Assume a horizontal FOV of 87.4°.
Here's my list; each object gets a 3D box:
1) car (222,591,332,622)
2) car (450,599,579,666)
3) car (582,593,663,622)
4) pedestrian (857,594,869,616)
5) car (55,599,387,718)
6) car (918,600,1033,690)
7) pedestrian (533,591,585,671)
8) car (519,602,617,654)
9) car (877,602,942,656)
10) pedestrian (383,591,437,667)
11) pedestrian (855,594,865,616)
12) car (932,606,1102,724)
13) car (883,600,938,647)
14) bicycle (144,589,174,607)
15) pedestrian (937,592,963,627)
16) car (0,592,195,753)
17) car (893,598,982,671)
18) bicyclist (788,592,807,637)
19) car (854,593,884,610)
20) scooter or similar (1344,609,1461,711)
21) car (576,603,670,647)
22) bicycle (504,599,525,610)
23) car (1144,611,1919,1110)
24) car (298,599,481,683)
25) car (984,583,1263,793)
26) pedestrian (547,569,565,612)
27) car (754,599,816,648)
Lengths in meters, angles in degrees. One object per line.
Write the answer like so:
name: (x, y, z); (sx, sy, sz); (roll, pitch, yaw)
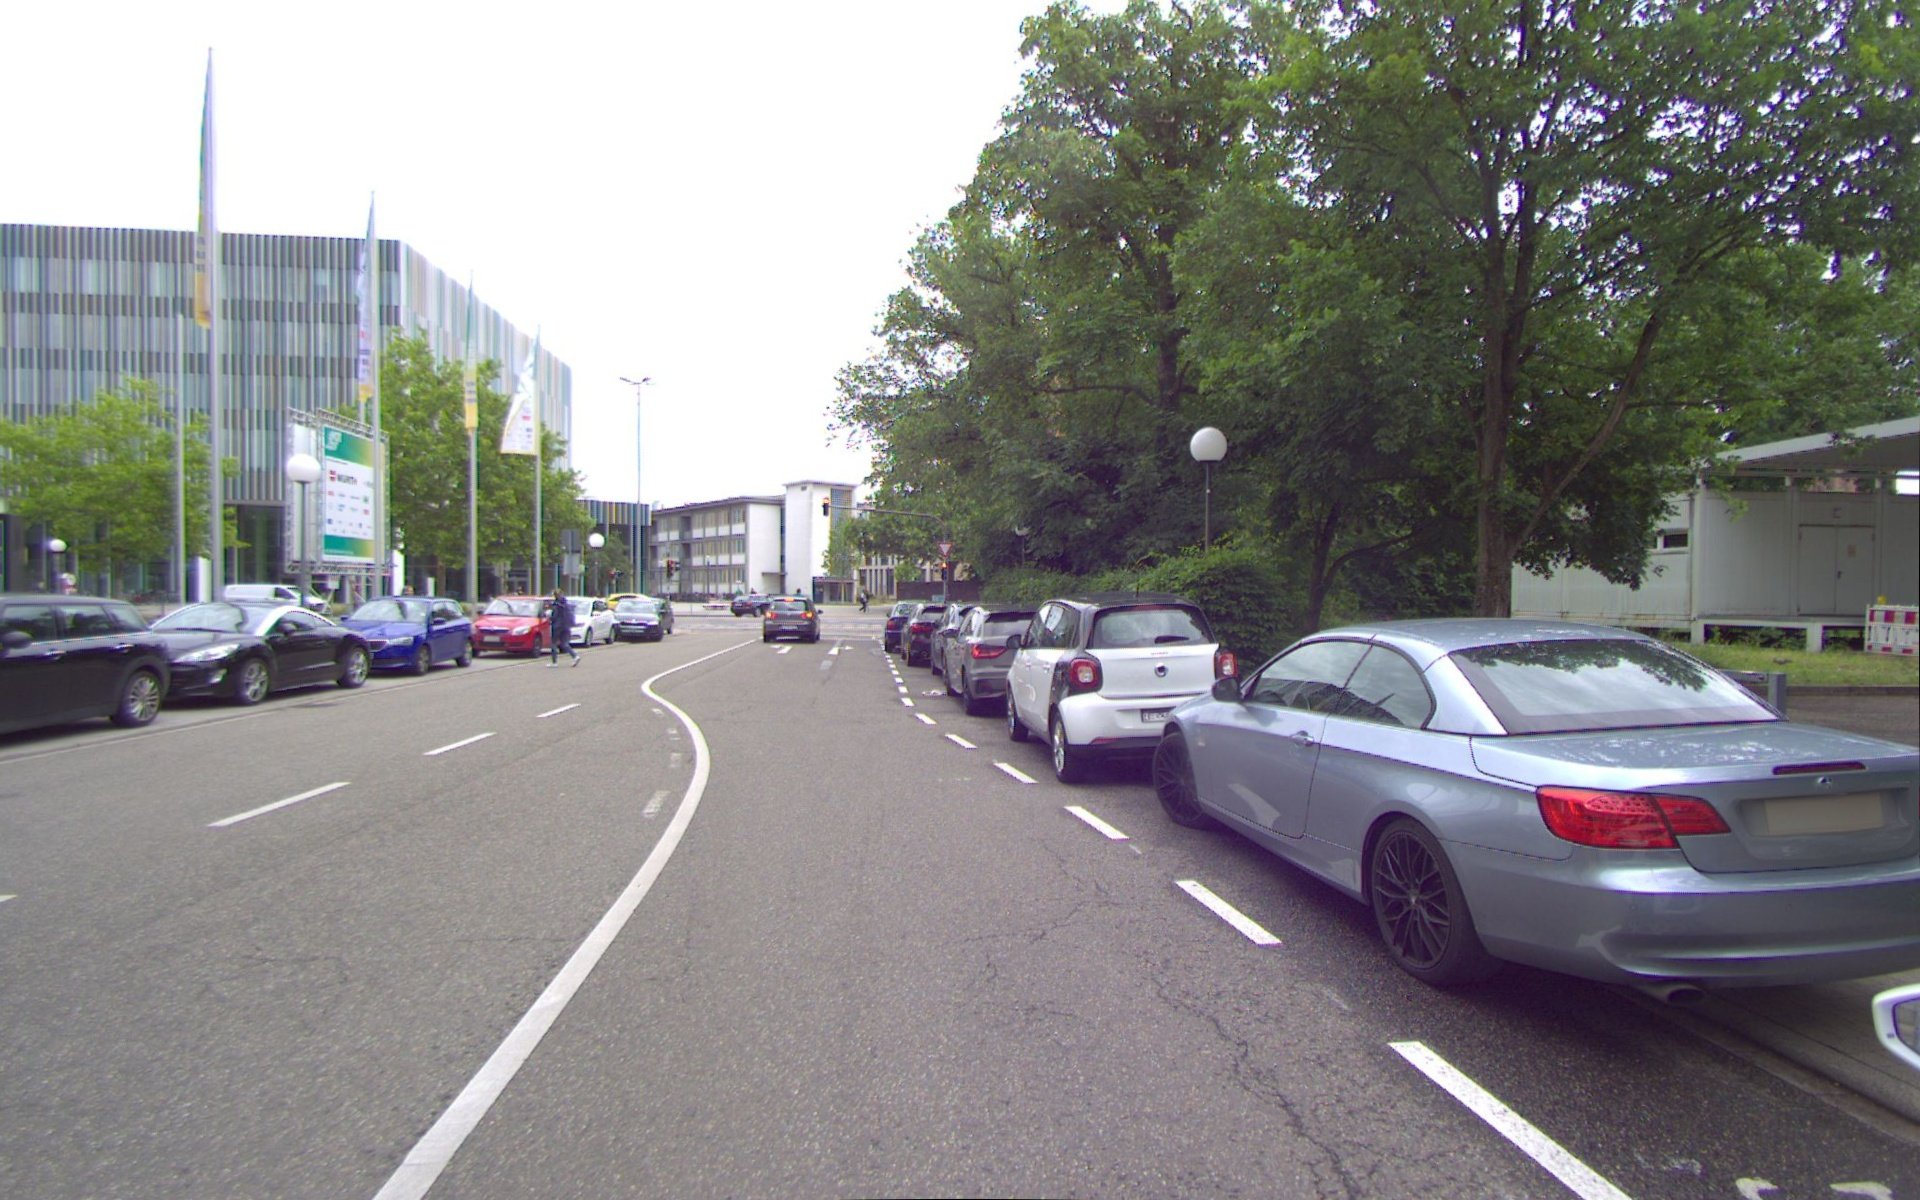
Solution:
car: (-38.862, 0.336, 57.275); (4.751, 1.685, 1.997); (-1, 0, -8)
car: (-11.140, 0.761, 25.427); (1.685, 1.493, 4.270); (2, 0, -6)
car: (-19.660, 0.441, 58.604); (4.113, 1.639, 1.999); (0, 0, -4)
pedestrian: (-7.383, 0.385, 76.482); (0.613, 1.688, 0.617); (-1, 0, -41)
car: (-10.371, 0.770, 14.618); (1.819, 1.461, 4.416); (0, -1, -5)
car: (0.191, 0.771, 18.972); (1.734, 1.491, 3.821); (0, 0, -6)
pedestrian: (-8.686, 0.658, 21.785); (0.726, 1.684, 0.968); (1, -1, 0)
car: (-11.967, 0.809, 30.901); (1.831, 1.472, 3.855); (0, 0, -6)
car: (-1.467, 0.800, 29.710); (1.768, 1.427, 4.335); (0, 0, -2)
pedestrian: (-12.367, 0.661, 22.614); (0.722, 1.662, 0.931); (-1, -2, -2)
pedestrian: (-7.733, 0.399, 77.801); (0.614, 1.687, 0.571); (-1, 0, -24)
car: (0.658, 0.810, 14.370); (1.736, 1.430, 4.004); (0, 0, -7)
car: (-1.749, 0.756, 34.780); (1.769, 1.489, 4.245); (0, 0, -4)
bicycle: (-61.432, -0.134, 77.076); (0.616, 1.275, 2.104); (-1, -2, -1)
pedestrian: (-0.470, 0.438, 47.215); (1.029, 1.641, 0.654); (-1, 1, -24)
car: (-9.874, 0.669, 9.756); (1.790, 1.462, 4.515); (2, 0, -7)
car: (-0.635, 0.776, 24.164); (1.769, 1.581, 4.526); (0, 0, -6)
bicyclist: (-6.531, 0.566, 40.350); (0.648, 1.803, 0.981); (0, 1, -13)
car: (-10.605, 0.175, 117.709); (1.962, 1.601, 4.404); (-9, -3, 15)
scooter or similar: (5.564, 0.731, 12.647); (1.285, 1.226, 0.449); (0, 0, 35)
car: (-12.025, 0.853, 35.655); (1.849, 1.420, 4.431); (-1, 0, -37)
bicycle: (-37.407, 0.383, 84.355); (1.972, 0.948, 0.483); (1, 1, 26)
car: (2.484, 0.789, 5.154); (1.790, 1.407, 4.188); (-1, 0, -8)
car: (-11.013, 0.722, 19.754); (1.670, 1.430, 4.369); (1, 0, -9)
car: (1.343, 0.700, 9.784); (1.689, 1.607, 3.874); (-1, 0, -6)
pedestrian: (-16.659, -0.388, 41.428); (0.578, 1.738, 0.652); (-1, 0, -30)
car: (-5.826, 0.734, 33.868); (1.755, 1.517, 4.164); (0, 0, -6)
